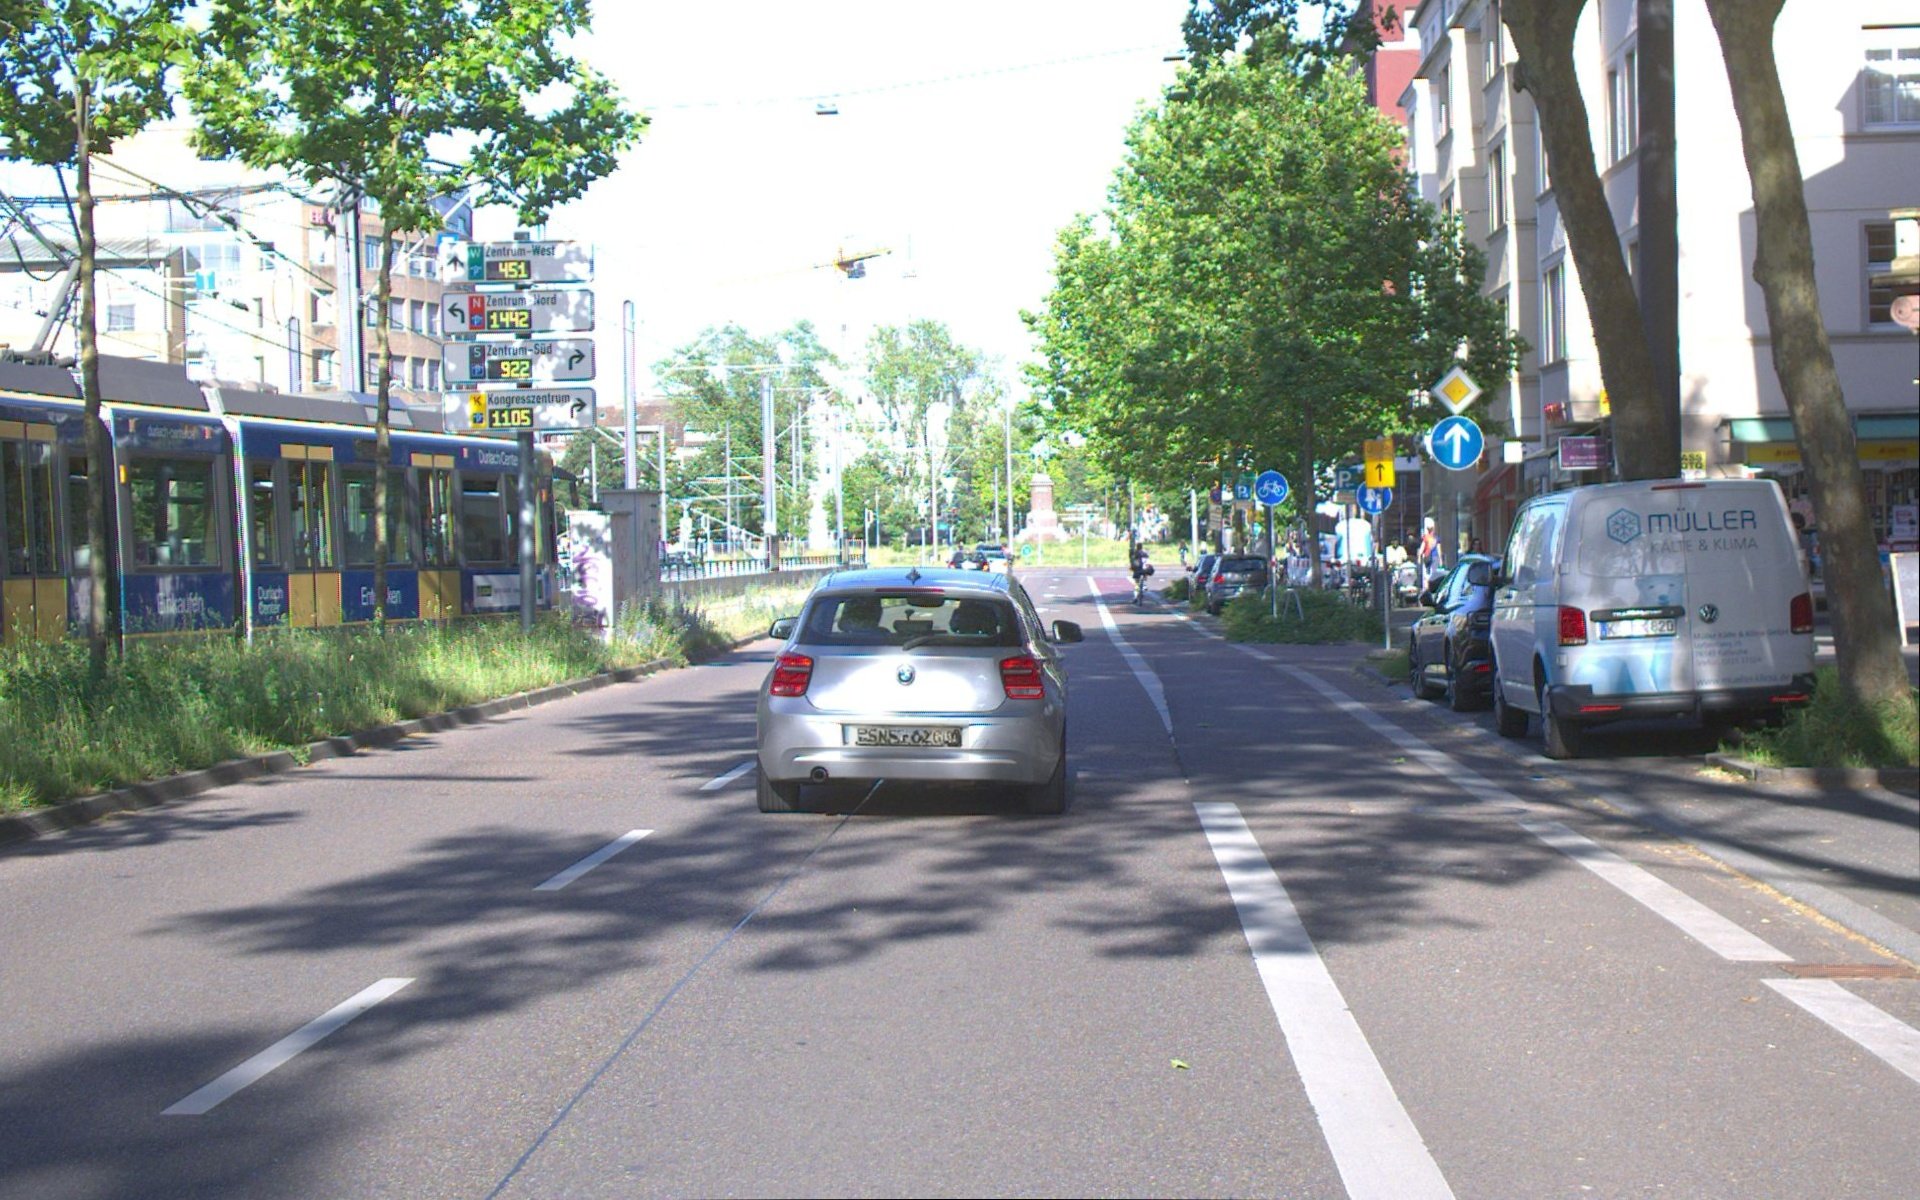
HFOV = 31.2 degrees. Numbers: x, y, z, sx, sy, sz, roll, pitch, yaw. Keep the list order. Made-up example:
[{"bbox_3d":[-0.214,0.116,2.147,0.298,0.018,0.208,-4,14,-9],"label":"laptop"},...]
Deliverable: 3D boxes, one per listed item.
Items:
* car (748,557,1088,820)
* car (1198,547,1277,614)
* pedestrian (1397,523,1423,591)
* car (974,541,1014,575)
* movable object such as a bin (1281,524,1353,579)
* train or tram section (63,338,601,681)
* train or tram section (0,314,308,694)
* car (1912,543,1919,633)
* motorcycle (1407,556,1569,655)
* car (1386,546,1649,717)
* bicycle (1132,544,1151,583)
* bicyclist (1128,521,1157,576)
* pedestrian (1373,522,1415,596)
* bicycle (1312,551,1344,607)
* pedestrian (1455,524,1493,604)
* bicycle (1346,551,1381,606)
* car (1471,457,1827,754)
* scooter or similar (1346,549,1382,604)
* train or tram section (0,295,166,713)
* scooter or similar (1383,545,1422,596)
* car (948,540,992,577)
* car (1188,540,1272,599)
[{"bbox_3d":[-0.158,0.464,20.924,1.798,1.410,4.000,-1,1,3],"label":"car"},{"bbox_3d":[6.813,-0.493,84.678,1.694,1.497,3.801,-3,1,2],"label":"car"},{"bbox_3d":[11.413,-1.099,87.237,0.558,1.705,0.770,-1,1,2],"label":"pedestrian"},{"bbox_3d":[1.475,-1.827,148.857,1.644,1.416,4.000,0,1,2],"label":"car"},{"bbox_3d":[12.576,-1.720,121.365,1.945,1.837,3.481,-1,2,-4],"label":"movable object such as a bin"},{"bbox_3d":[-7.762,-1.111,44.599,2.954,3.883,10.797,1,1,12],"label":"train or tram section"},{"bbox_3d":[-9.228,-1.029,37.431,2.956,3.883,3.864,1,1,10],"label":"train or tram section"},{"bbox_3d":[17.643,-0.186,55.895,3.940,1.469,1.666,0,1,6],"label":"car"},{"bbox_3d":[6.708,0.066,43.727,1.949,1.226,0.516,1,1,-1],"label":"motorcycle"},{"bbox_3d":[5.335,0.251,33.479,1.818,1.510,4.708,1,1,1],"label":"car"},{"bbox_3d":[5.107,-1.023,96.735,0.499,1.085,1.997,1,1,2],"label":"bicycle"},{"bbox_3d":[5.144,-1.460,96.785,0.785,1.526,0.895,1,1,2],"label":"bicyclist"},{"bbox_3d":[10.059,-0.961,79.705,0.859,1.699,0.917,-1,1,0],"label":"pedestrian"},{"bbox_3d":[8.164,-0.458,76.331,0.392,1.211,1.903,-2,0,-2],"label":"bicycle"},{"bbox_3d":[10.441,-0.724,69.858,0.682,1.616,0.562,0,1,0],"label":"pedestrian"},{"bbox_3d":[9.044,-0.488,76.982,0.386,1.203,1.872,-1,1,18],"label":"bicycle"},{"bbox_3d":[5.085,0.003,25.995,1.856,2.007,4.724,1,1,2],"label":"car"},{"bbox_3d":[9.024,-0.529,76.818,0.379,1.192,1.573,-1,1,22],"label":"scooter or similar"},{"bbox_3d":[-10.580,-0.858,28.523,2.929,3.799,14.269,1,1,7],"label":"train or tram section"},{"bbox_3d":[10.121,-0.676,78.650,0.744,1.167,0.849,1,1,-1],"label":"scooter or similar"},{"bbox_3d":[0.405,-1.697,140.867,1.726,1.465,4.411,0,1,0],"label":"car"},{"bbox_3d":[7.224,-0.839,92.356,2.038,1.504,4.593,-1,1,2],"label":"car"}]
